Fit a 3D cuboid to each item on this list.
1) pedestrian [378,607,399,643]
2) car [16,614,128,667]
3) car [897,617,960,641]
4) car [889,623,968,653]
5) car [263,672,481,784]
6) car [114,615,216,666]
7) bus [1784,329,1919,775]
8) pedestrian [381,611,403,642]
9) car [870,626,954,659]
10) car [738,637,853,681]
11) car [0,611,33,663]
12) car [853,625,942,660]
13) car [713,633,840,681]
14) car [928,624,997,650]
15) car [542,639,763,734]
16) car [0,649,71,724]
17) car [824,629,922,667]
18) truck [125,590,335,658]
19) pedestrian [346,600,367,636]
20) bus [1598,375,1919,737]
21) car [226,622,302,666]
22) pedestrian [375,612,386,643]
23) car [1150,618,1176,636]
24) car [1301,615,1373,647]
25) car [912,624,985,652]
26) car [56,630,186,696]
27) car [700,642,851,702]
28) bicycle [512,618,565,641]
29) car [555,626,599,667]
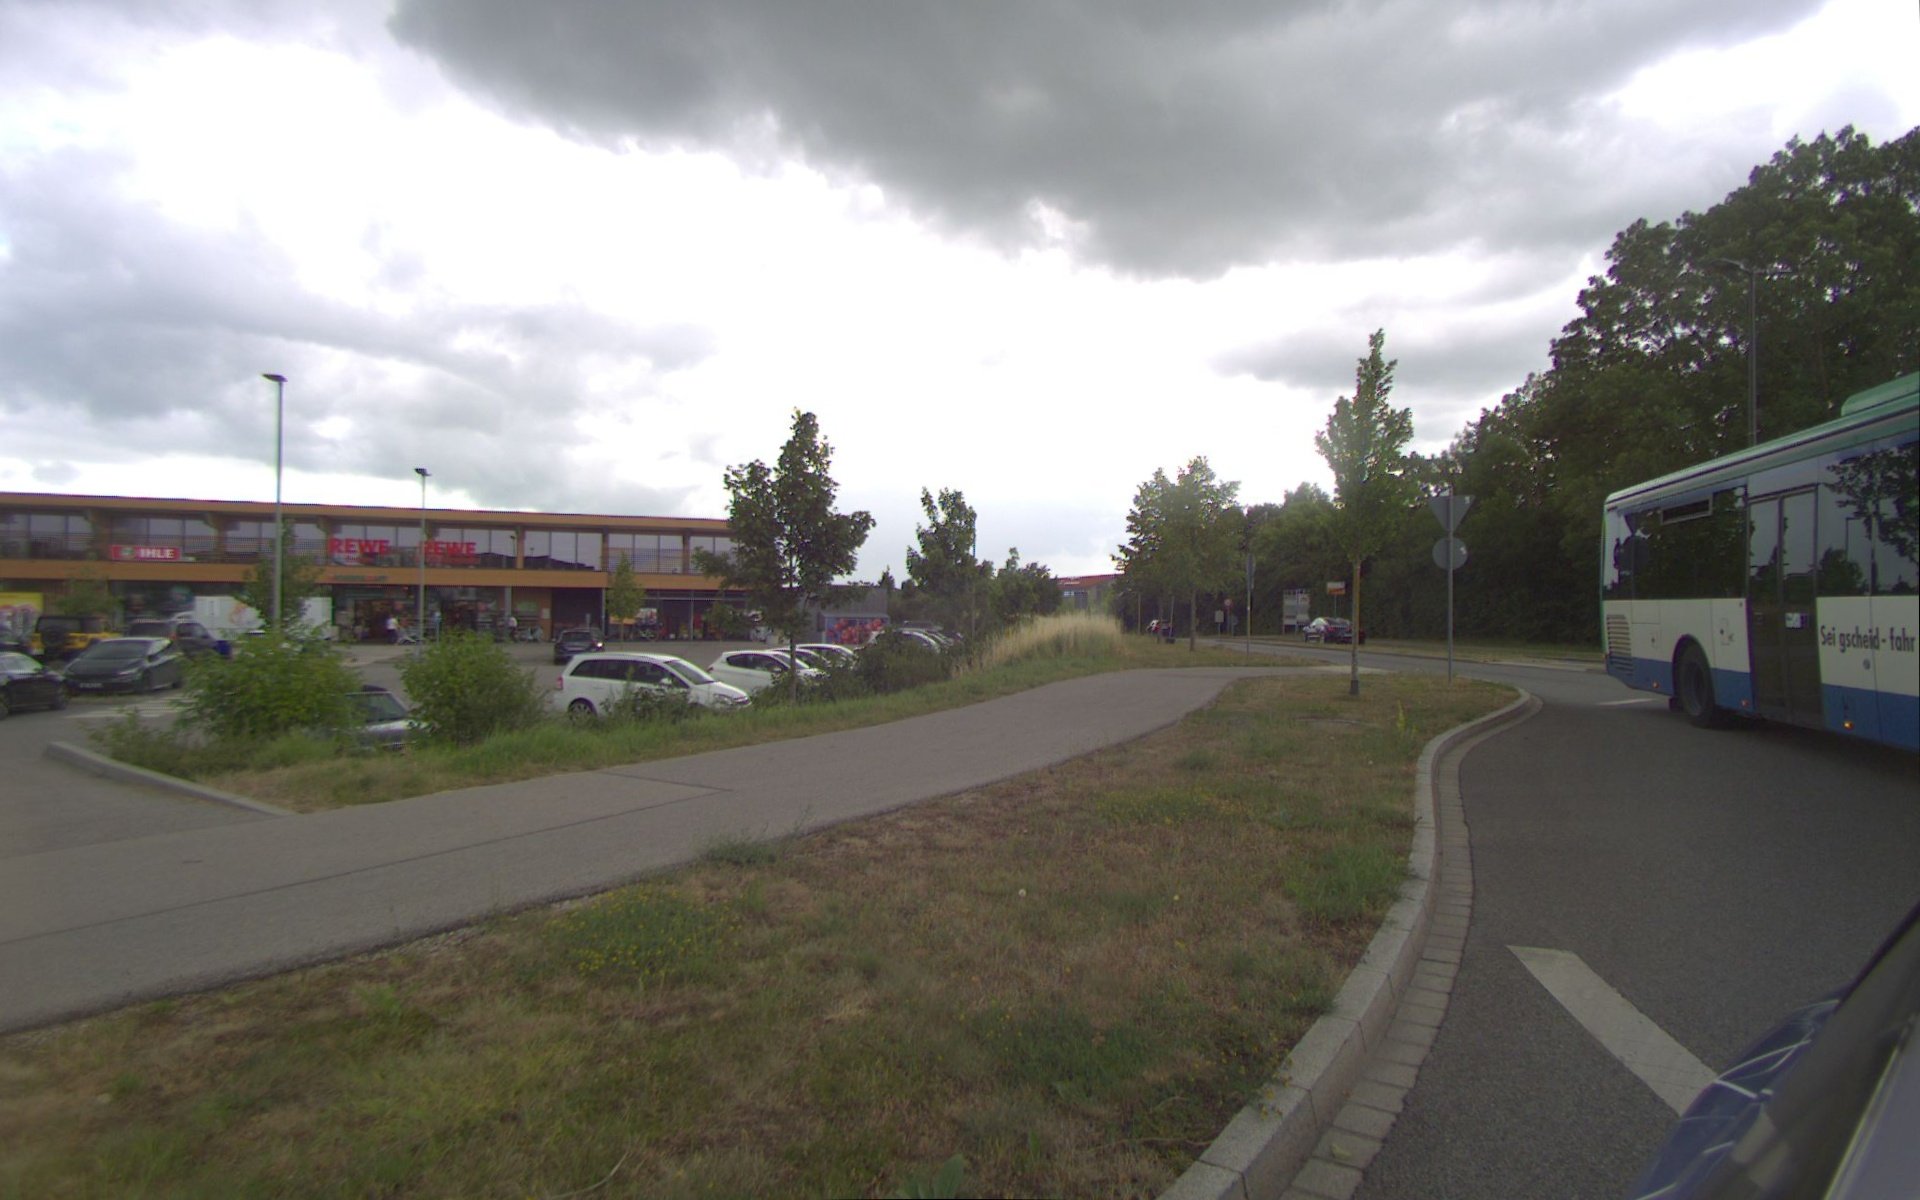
[{"bbox_3d":[-31.308,1.375,55.427,0.909,1.923,0.795,0,-3,-23],"label":"pedestrian"},{"bbox_3d":[-33.446,1.469,38.236,1.735,1.878,4.008,0,-1,-18],"label":"car"},{"bbox_3d":[-1.991,1.823,63.735,3.922,1.462,1.885,0,0,-2],"label":"car"},{"bbox_3d":[-1.628,1.954,53.040,3.831,1.483,1.690,0,0,13],"label":"car"},{"bbox_3d":[-9.289,1.913,15.906,3.707,1.390,1.561,-1,-1,35],"label":"car"},{"bbox_3d":[-30.153,1.491,38.529,1.813,1.747,4.128,-1,0,-19],"label":"car"},{"bbox_3d":[7.928,-0.316,5.907,2.491,3.298,6.514,1,1,17],"label":"bus"},{"bbox_3d":[-31.694,1.465,56.456,0.796,1.678,0.744,0,-1,24],"label":"pedestrian"},{"bbox_3d":[-2.359,2.079,50.002,3.831,1.483,1.690,0,0,13],"label":"car"},{"bbox_3d":[-5.614,2.006,34.633,3.616,1.310,1.413,-1,3,10],"label":"car"},{"bbox_3d":[-36.008,1.353,37.059,1.735,1.878,4.007,0,0,-22],"label":"car"},{"bbox_3d":[-2.897,1.952,46.940,3.831,1.483,1.690,0,0,13],"label":"car"},{"bbox_3d":[-5.600,1.733,31.112,3.605,1.311,1.716,-1,0,-1],"label":"car"},{"bbox_3d":[0.155,2.198,60.495,3.831,1.483,1.690,0,0,13],"label":"car"},{"bbox_3d":[-6.831,1.884,22.674,4.371,1.694,1.796,2,1,8],"label":"car"},{"bbox_3d":[-21.513,1.891,22.214,1.798,1.416,4.007,0,0,-23],"label":"car"},{"bbox_3d":[-3.657,2.001,42.732,3.831,1.483,1.690,0,-1,13],"label":"car"},{"bbox_3d":[-32.488,1.025,45.419,7.106,2.843,2.982,0,-1,-23],"label":"truck"},{"bbox_3d":[-34.403,1.000,57.674,0.912,2.039,0.807,0,-1,-24],"label":"pedestrian"},{"bbox_3d":[9.728,-0.459,11.768,2.491,3.298,5.432,1,1,17],"label":"bus"},{"bbox_3d":[-27.459,1.692,40.043,1.695,1.549,4.007,0,0,-23],"label":"car"},{"bbox_3d":[-37.326,1.759,65.159,0.567,1.973,0.526,0,-1,-27],"label":"pedestrian"},{"bbox_3d":[18.067,2.382,90.037,1.613,1.524,3.581,0,0,0],"label":"car"},{"bbox_3d":[17.372,1.416,46.858,1.796,1.324,4.114,1,0,0],"label":"car"},{"bbox_3d":[-0.632,2.097,56.634,3.831,1.483,1.690,0,0,13],"label":"car"},{"bbox_3d":[-23.091,1.683,28.028,1.695,1.573,4.007,0,0,-23],"label":"car"},{"bbox_3d":[-5.204,2.024,28.931,3.925,1.527,1.999,-1,0,1],"label":"car"},{"bbox_3d":[-24.693,1.712,59.405,2.809,1.326,0.981,0,-1,-20],"label":"bicycle"},{"bbox_3d":[-16.474,1.965,43.620,1.679,1.588,3.677,0,0,-20],"label":"car"}]
